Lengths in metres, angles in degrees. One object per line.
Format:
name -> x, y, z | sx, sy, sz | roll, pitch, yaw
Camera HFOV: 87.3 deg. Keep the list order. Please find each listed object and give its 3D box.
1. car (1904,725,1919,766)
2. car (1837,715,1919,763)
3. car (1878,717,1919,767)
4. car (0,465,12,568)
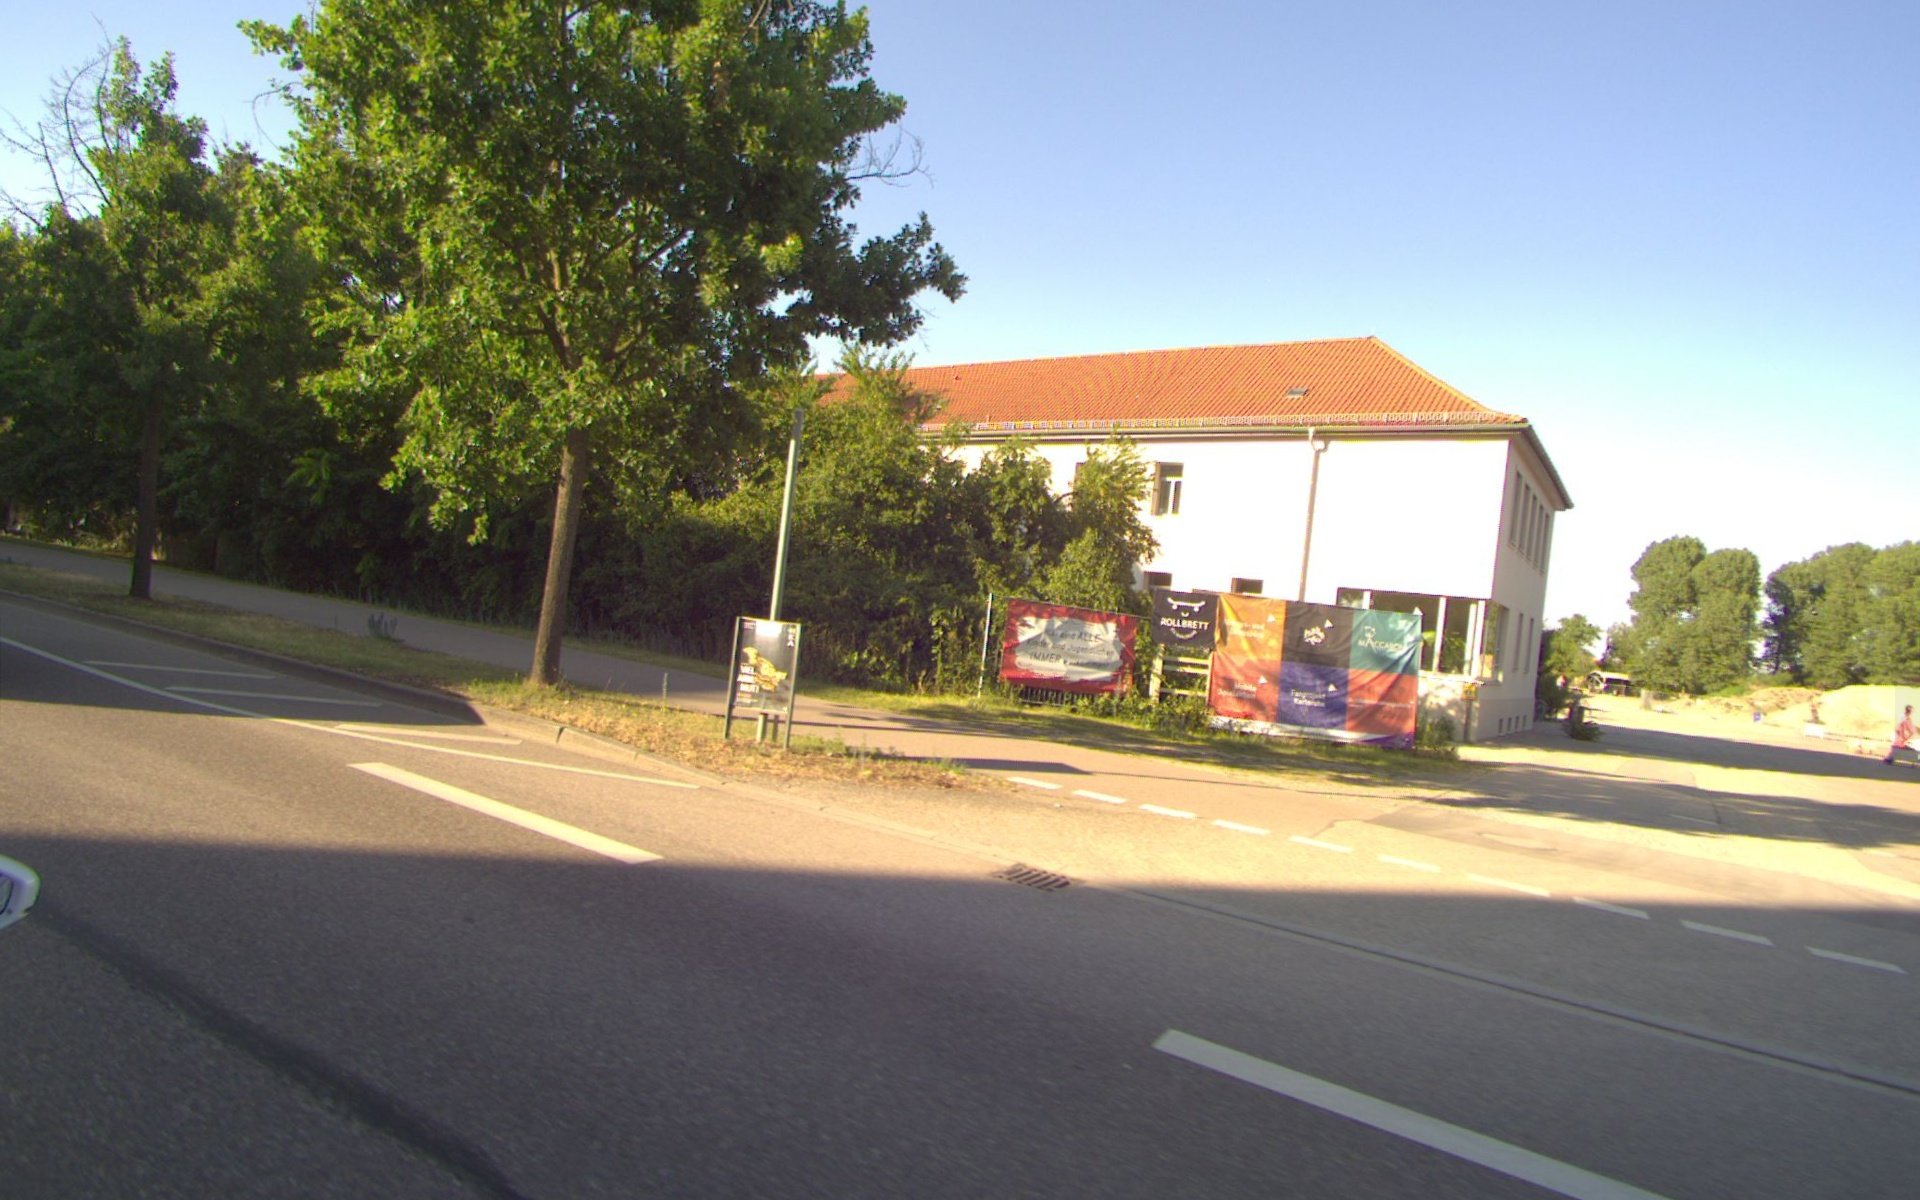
car -> 47.772, 7.189, 47.719 | 3.855, 1.905, 1.932 | 6, 0, 32
car -> 47.419, 7.097, 51.109 | 3.871, 1.905, 1.916 | 6, 0, 32
car -> 41.477, 6.187, 42.276 | 3.823, 1.905, 1.885 | 6, 0, 32
car -> -10.310, -0.485, 8.767 | 4.626, 1.747, 1.956 | 5, -2, 35
